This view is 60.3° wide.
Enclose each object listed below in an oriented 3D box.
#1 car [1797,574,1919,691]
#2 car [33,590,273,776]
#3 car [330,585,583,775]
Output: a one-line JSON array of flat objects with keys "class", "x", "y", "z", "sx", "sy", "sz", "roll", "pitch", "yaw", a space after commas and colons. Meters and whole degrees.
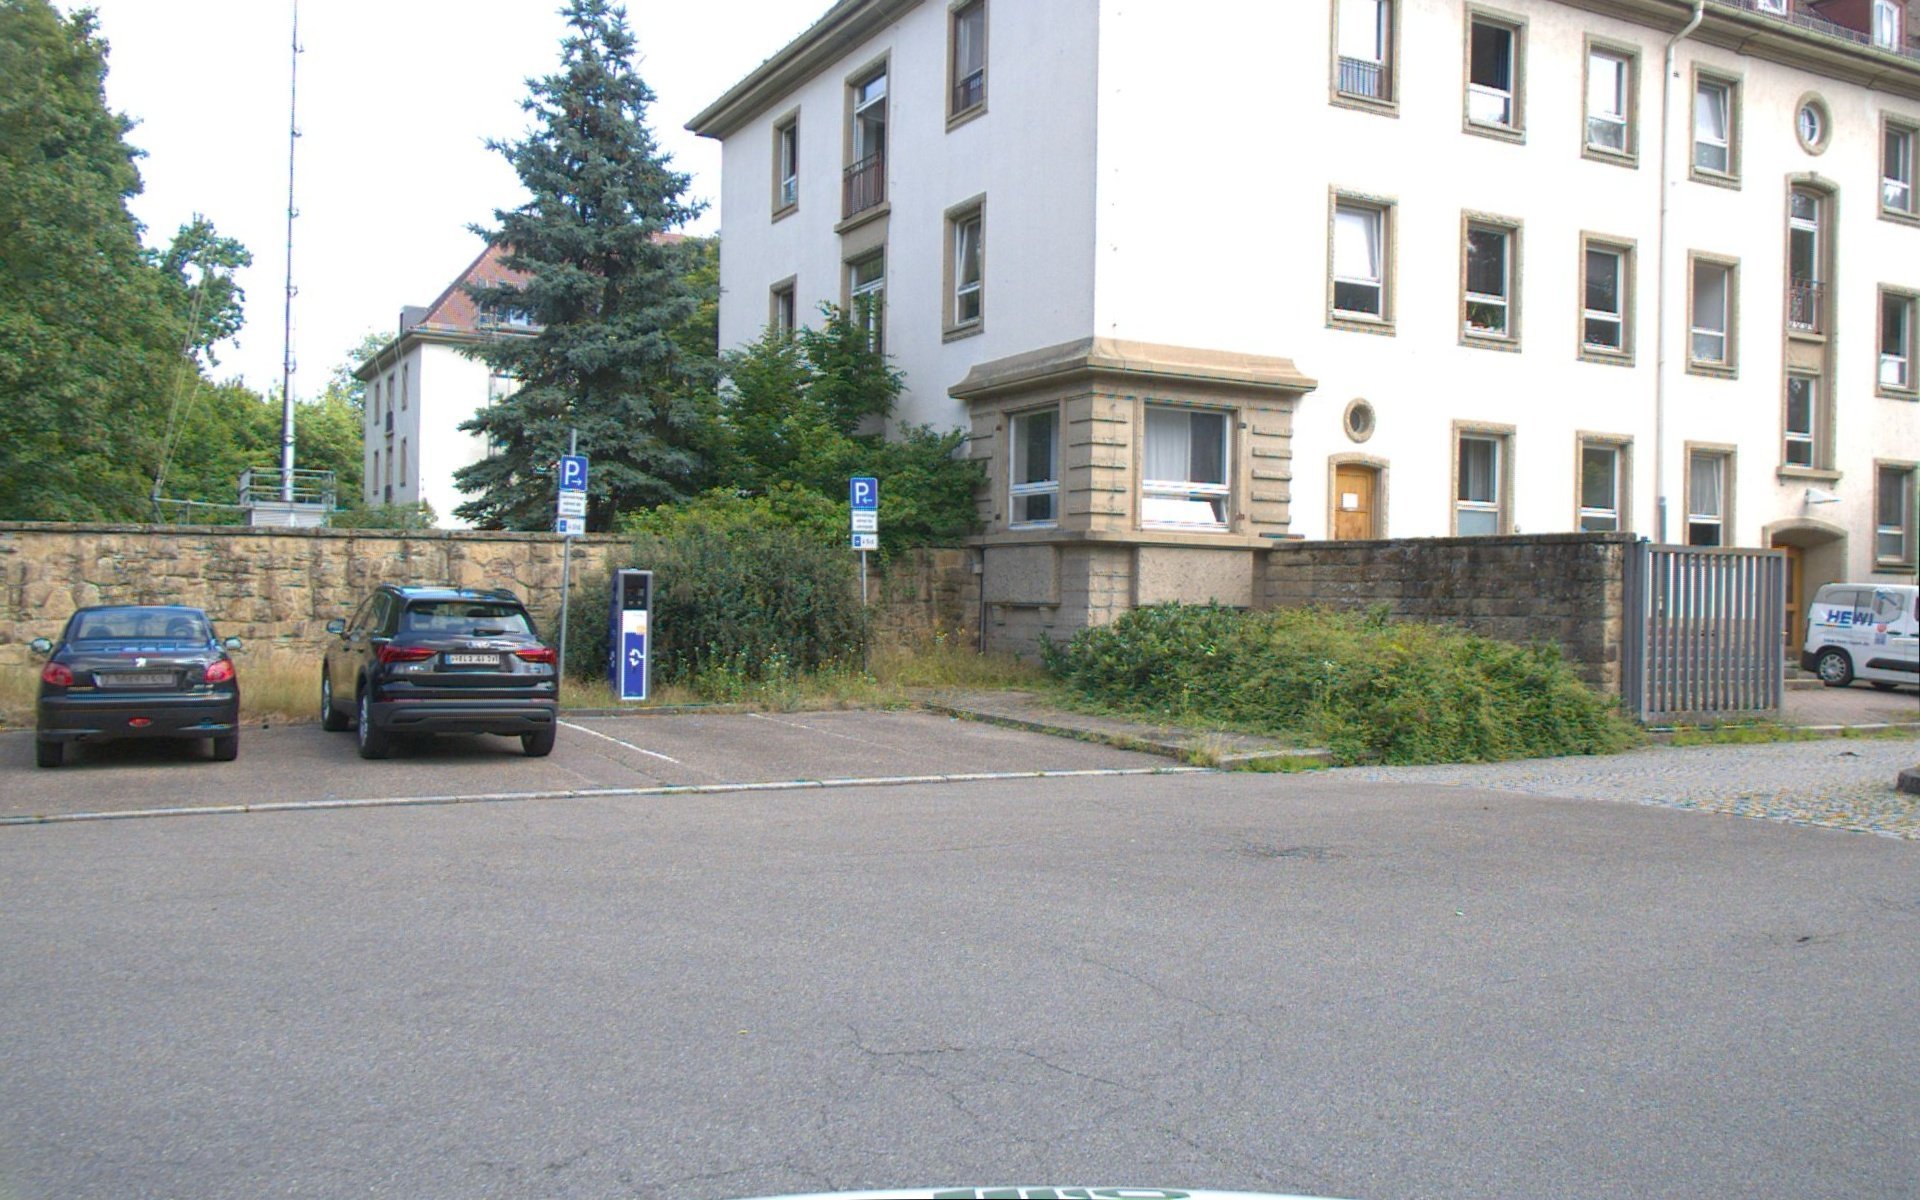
[{"class": "car", "x": 16.446, "y": 0.605, "z": 27.235, "sx": 1.834, "sy": 1.781, "sz": 4.405, "roll": 0, "pitch": 4, "yaw": -31}, {"class": "car", "x": -7.768, "y": 0.690, "z": 16.082, "sx": 1.850, "sy": 1.466, "sz": 3.969, "roll": 0, "pitch": 2, "yaw": -25}, {"class": "car", "x": -5.171, "y": 0.687, "z": 16.644, "sx": 1.870, "sy": 1.573, "sz": 3.968, "roll": 0, "pitch": 2, "yaw": -25}]
